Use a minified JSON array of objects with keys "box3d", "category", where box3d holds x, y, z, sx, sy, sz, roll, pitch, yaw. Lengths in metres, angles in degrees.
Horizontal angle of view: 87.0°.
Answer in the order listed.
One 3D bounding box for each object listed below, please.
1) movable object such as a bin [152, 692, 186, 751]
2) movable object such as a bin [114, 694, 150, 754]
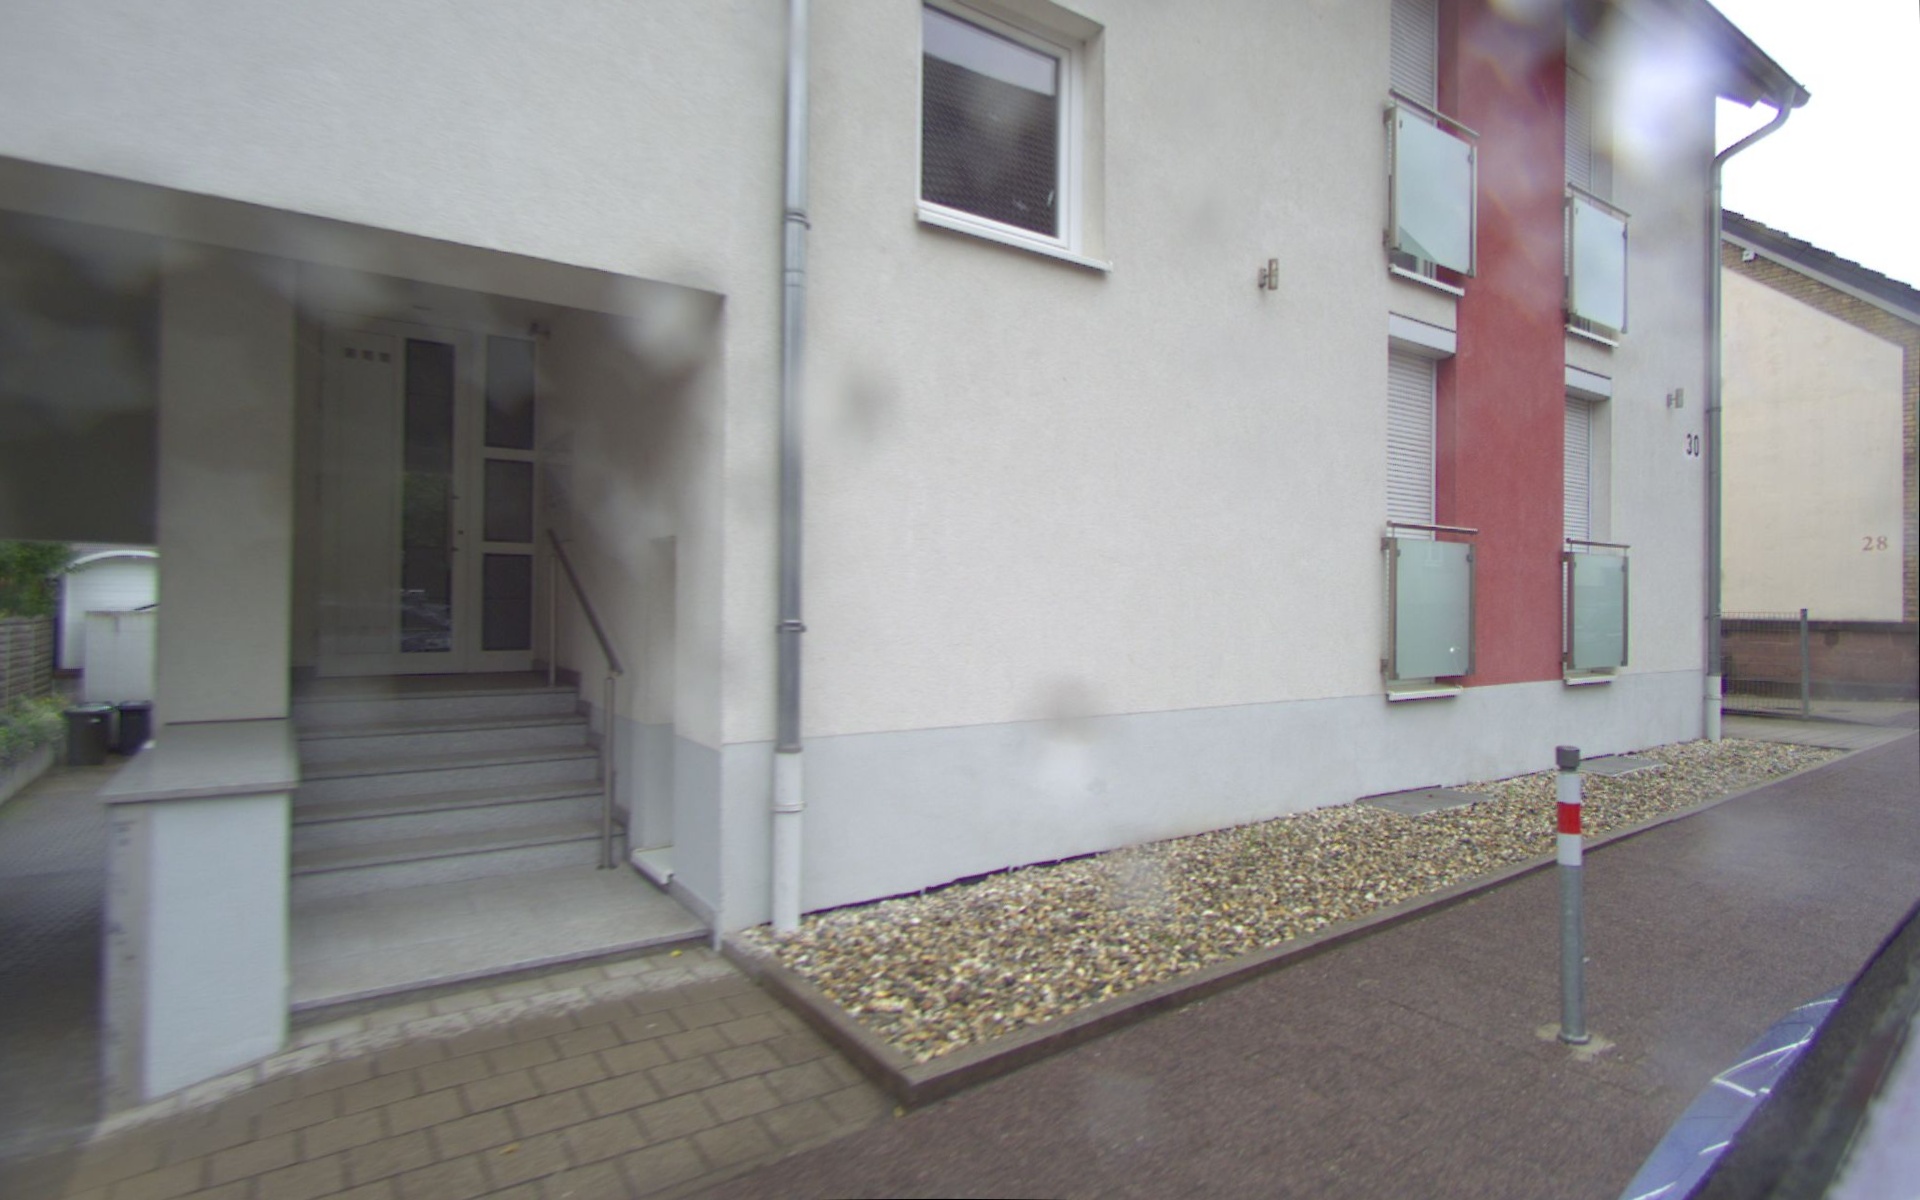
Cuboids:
[{"box3d":[-16.145,2.470,20.663,0.522,1.132,0.487,0,-4,-35],"category":"movable object such as a bin"},{"box3d":[-16.611,2.475,20.317,0.522,1.132,0.487,0,-4,-35],"category":"movable object such as a bin"}]
